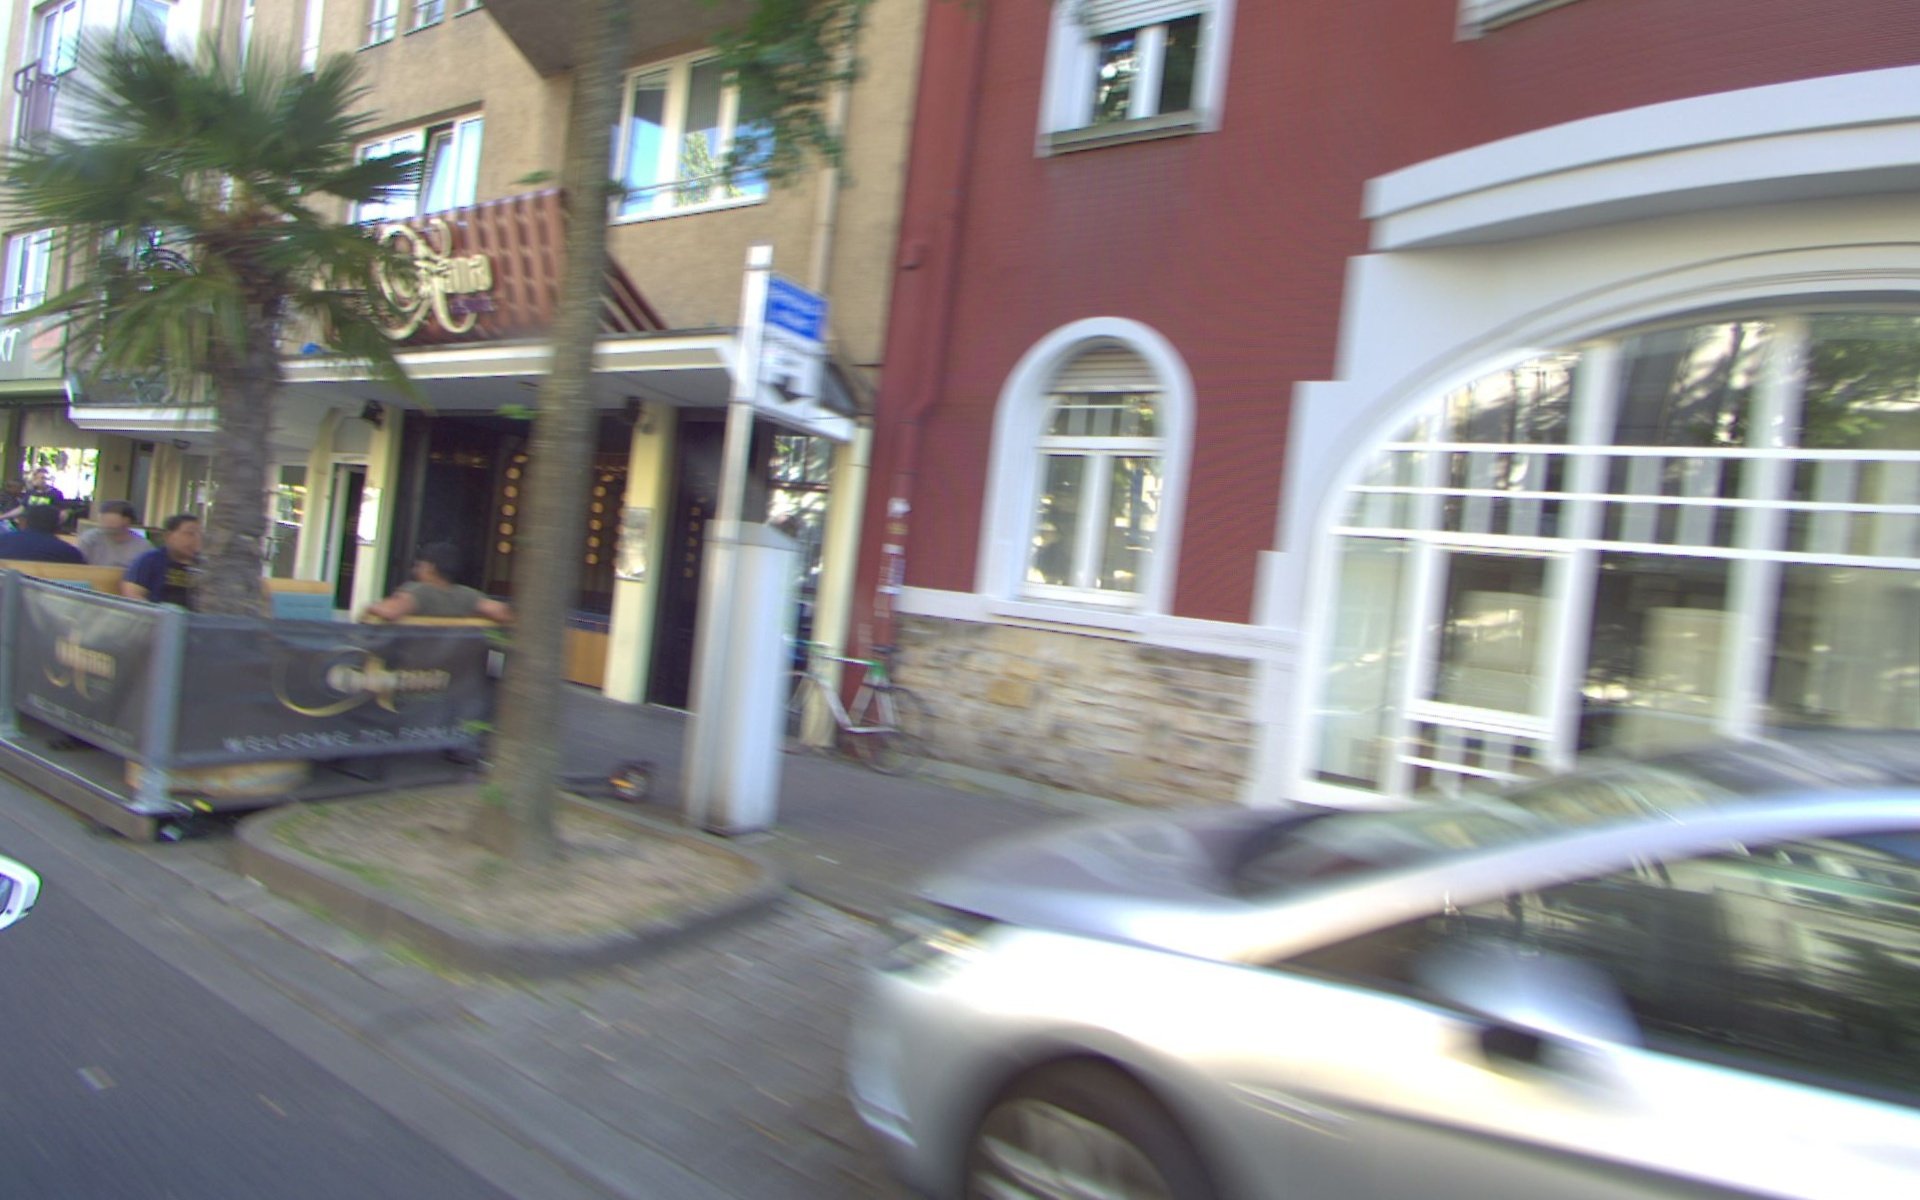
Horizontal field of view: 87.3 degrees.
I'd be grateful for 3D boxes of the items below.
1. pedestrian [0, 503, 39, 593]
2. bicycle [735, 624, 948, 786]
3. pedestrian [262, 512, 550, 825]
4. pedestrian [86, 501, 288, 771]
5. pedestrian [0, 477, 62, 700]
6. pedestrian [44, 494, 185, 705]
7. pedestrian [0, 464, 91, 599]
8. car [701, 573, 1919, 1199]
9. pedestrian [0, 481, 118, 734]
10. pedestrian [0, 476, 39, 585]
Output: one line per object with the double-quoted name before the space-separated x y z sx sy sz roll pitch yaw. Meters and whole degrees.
"pedestrian" -12.923 -0.708 13.611 0.438 1.177 0.498 6 1 -21
"bicycle" -0.973 0.800 8.032 1.672 1.014 0.474 7 1 32
"pedestrian" -3.152 0.362 5.765 0.878 1.556 1.056 7 1 36
"pedestrian" -4.897 0.216 6.381 0.764 1.556 0.693 7 1 33
"pedestrian" -7.138 -0.123 7.233 0.963 1.556 0.651 7 1 30
"pedestrian" -6.681 -0.006 7.943 0.709 1.556 0.760 6 1 -44
"pedestrian" -12.277 -0.904 13.512 0.619 1.717 0.503 6 1 -5
"car" 1.899 1.002 2.004 4.762 1.618 1.822 7 2 32
"pedestrian" -6.068 0.032 6.553 0.747 1.556 0.797 6 1 -44
"pedestrian" -15.264 -1.126 16.005 0.749 1.662 0.617 7 1 32
